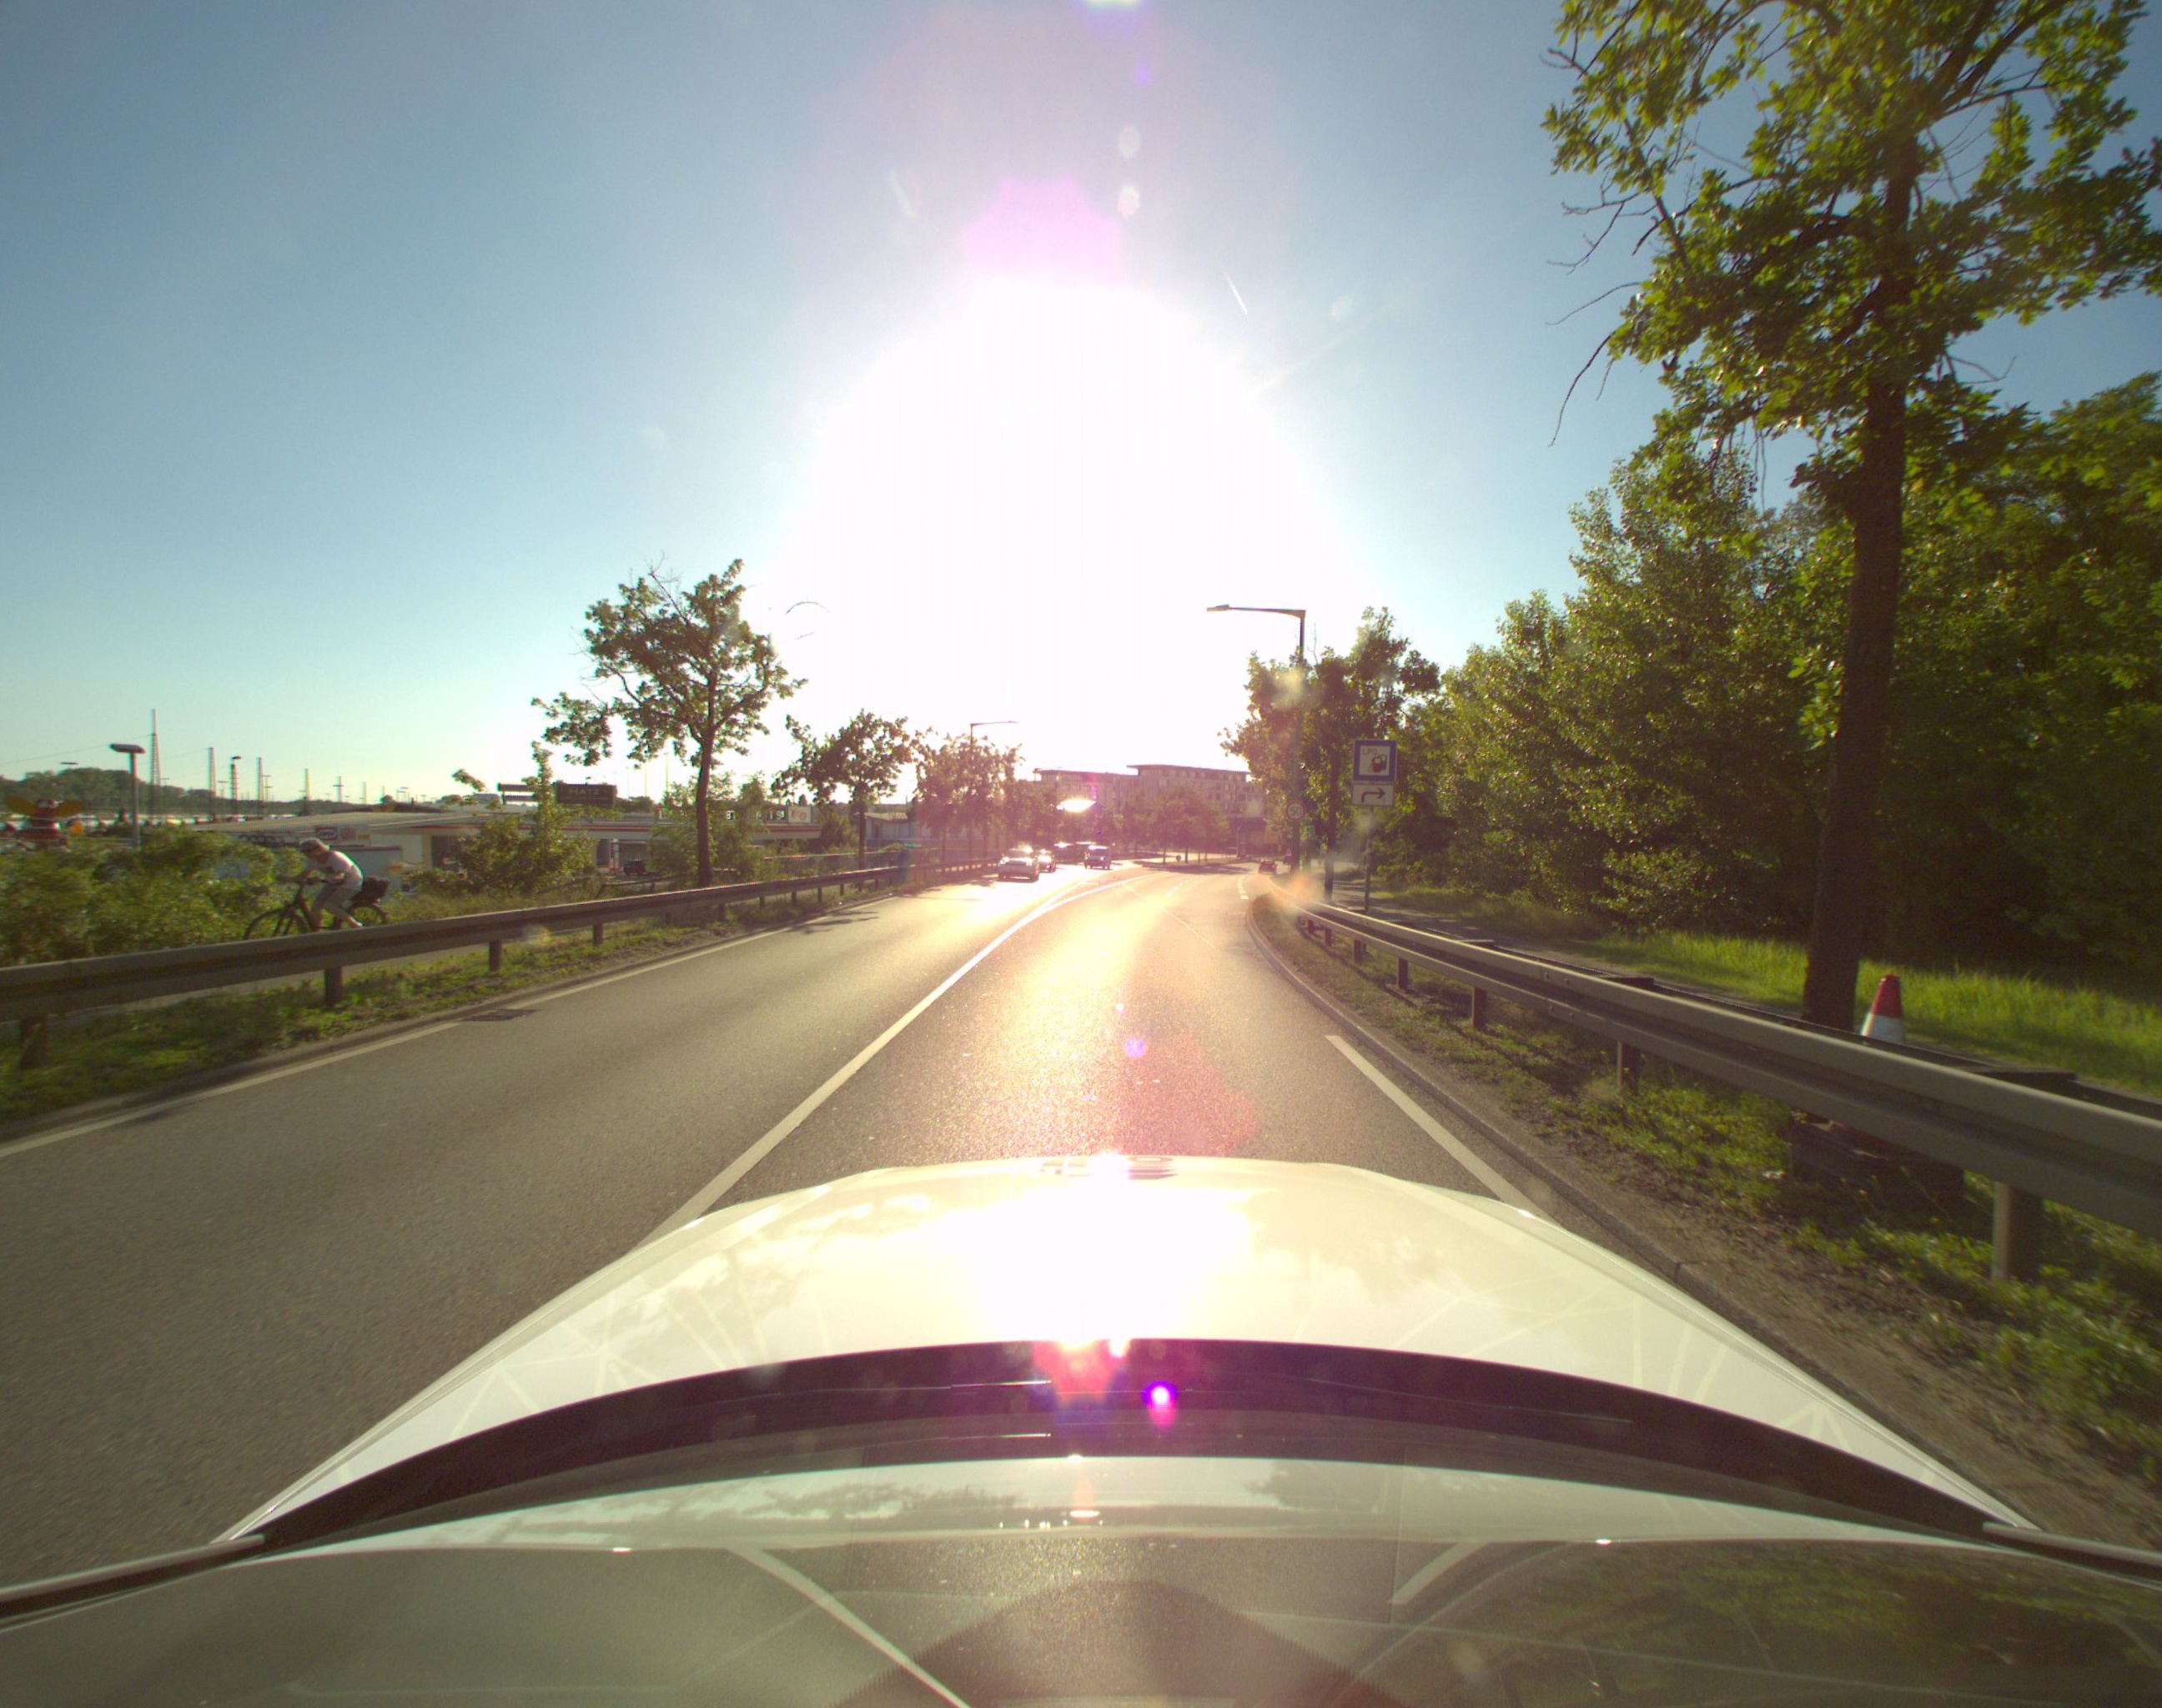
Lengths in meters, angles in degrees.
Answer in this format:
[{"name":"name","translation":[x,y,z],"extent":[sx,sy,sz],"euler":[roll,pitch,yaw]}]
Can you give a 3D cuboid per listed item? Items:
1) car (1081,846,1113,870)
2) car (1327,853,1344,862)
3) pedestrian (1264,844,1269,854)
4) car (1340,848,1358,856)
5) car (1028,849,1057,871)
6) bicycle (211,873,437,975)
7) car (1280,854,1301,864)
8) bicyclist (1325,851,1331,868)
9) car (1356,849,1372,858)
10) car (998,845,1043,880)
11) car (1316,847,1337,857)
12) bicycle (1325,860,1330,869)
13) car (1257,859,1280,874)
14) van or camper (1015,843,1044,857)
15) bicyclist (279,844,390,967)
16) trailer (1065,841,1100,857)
[{"name":"car","translation":[1.462,0.338,71.791],"extent":[1.866,2.013,5.275],"euler":[1,0,11]},{"name":"car","translation":[42.667,0.507,136.592],"extent":[1.532,1.423,3.439],"euler":[-1,0,38]},{"name":"pedestrian","translation":[38.385,-1.060,168.618],"extent":[0.687,1.903,0.669],"euler":[3,2,44]},{"name":"car","translation":[49.305,-0.368,149.687],"extent":[1.823,1.440,3.698],"euler":[-1,0,39]},{"name":"car","translation":[-2.673,0.403,56.866],"extent":[1.767,1.465,4.383],"euler":[1,0,0]},{"name":"bicycle","translation":[-9.243,0.797,10.116],"extent":[0.580,1.077,2.314],"euler":[-1,0,2]},{"name":"car","translation":[30.532,0.755,118.695],"extent":[1.567,1.408,3.856],"euler":[4,2,38]},{"name":"bicyclist","translation":[29.853,0.664,98.483],"extent":[0.676,1.906,0.837],"euler":[2,2,18]},{"name":"car","translation":[53.871,-0.087,155.013],"extent":[1.823,1.719,4.025],"euler":[-1,0,37]},{"name":"car","translation":[-3.116,0.473,42.814],"extent":[1.822,1.589,4.648],"euler":[5,-1,0]},{"name":"car","translation":[43.172,-0.367,143.148],"extent":[1.812,1.738,4.489],"euler":[3,2,40]},{"name":"bicycle","translation":[29.805,1.290,98.421],"extent":[0.574,0.963,2.900],"euler":[2,1,18]},{"name":"car","translation":[19.787,1.352,86.019],"extent":[1.977,1.508,4.019],"euler":[-1,0,18]},{"name":"van or camper","translation":[-7.380,-0.626,116.338],"extent":[2.010,1.925,4.181],"euler":[2,0,-39]},{"name":"bicyclist","translation":[-9.259,0.615,10.125],"extent":[0.597,1.459,0.829],"euler":[-1,-1,2]},{"name":"trailer","translation":[0.222,-0.705,107.635],"extent":[2.399,1.969,6.639],"euler":[2,1,20]}]
